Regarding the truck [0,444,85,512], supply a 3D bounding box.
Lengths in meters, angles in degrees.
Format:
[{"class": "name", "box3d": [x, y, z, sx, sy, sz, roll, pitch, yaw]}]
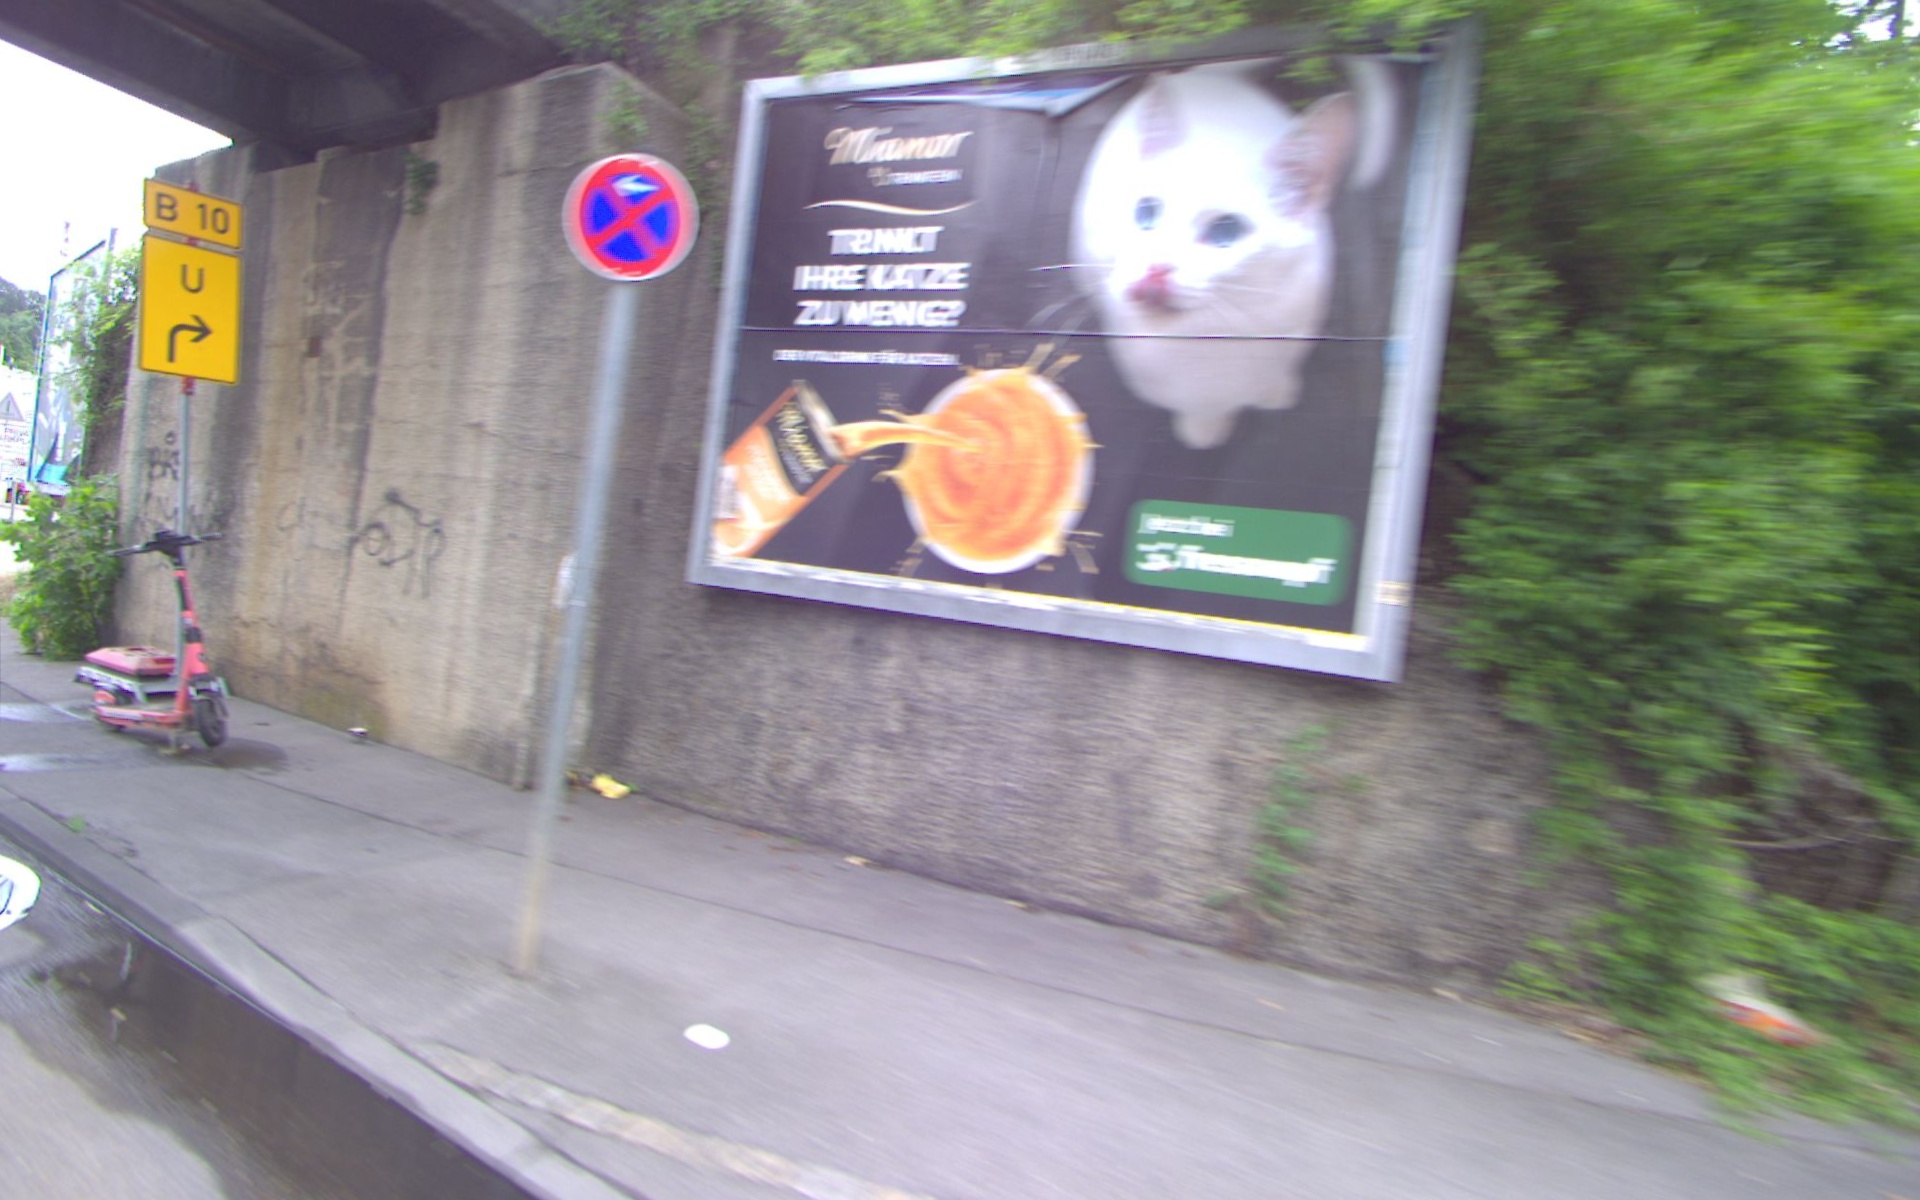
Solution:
[{"class": "truck", "box3d": [-64.766, -8.588, 70.421, 5.818, 3.976, 2.801, 7, 0, 24]}]

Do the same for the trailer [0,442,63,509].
[{"class": "trailer", "box3d": [-69.646, -9.199, 72.607, 10.797, 4.127, 2.792, 7, 0, 24]}]

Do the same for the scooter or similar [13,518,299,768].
[{"class": "scooter or similar", "box3d": [-4.836, 0.219, 6.041, 1.638, 1.253, 0.505, 7, 4, 18]}]
